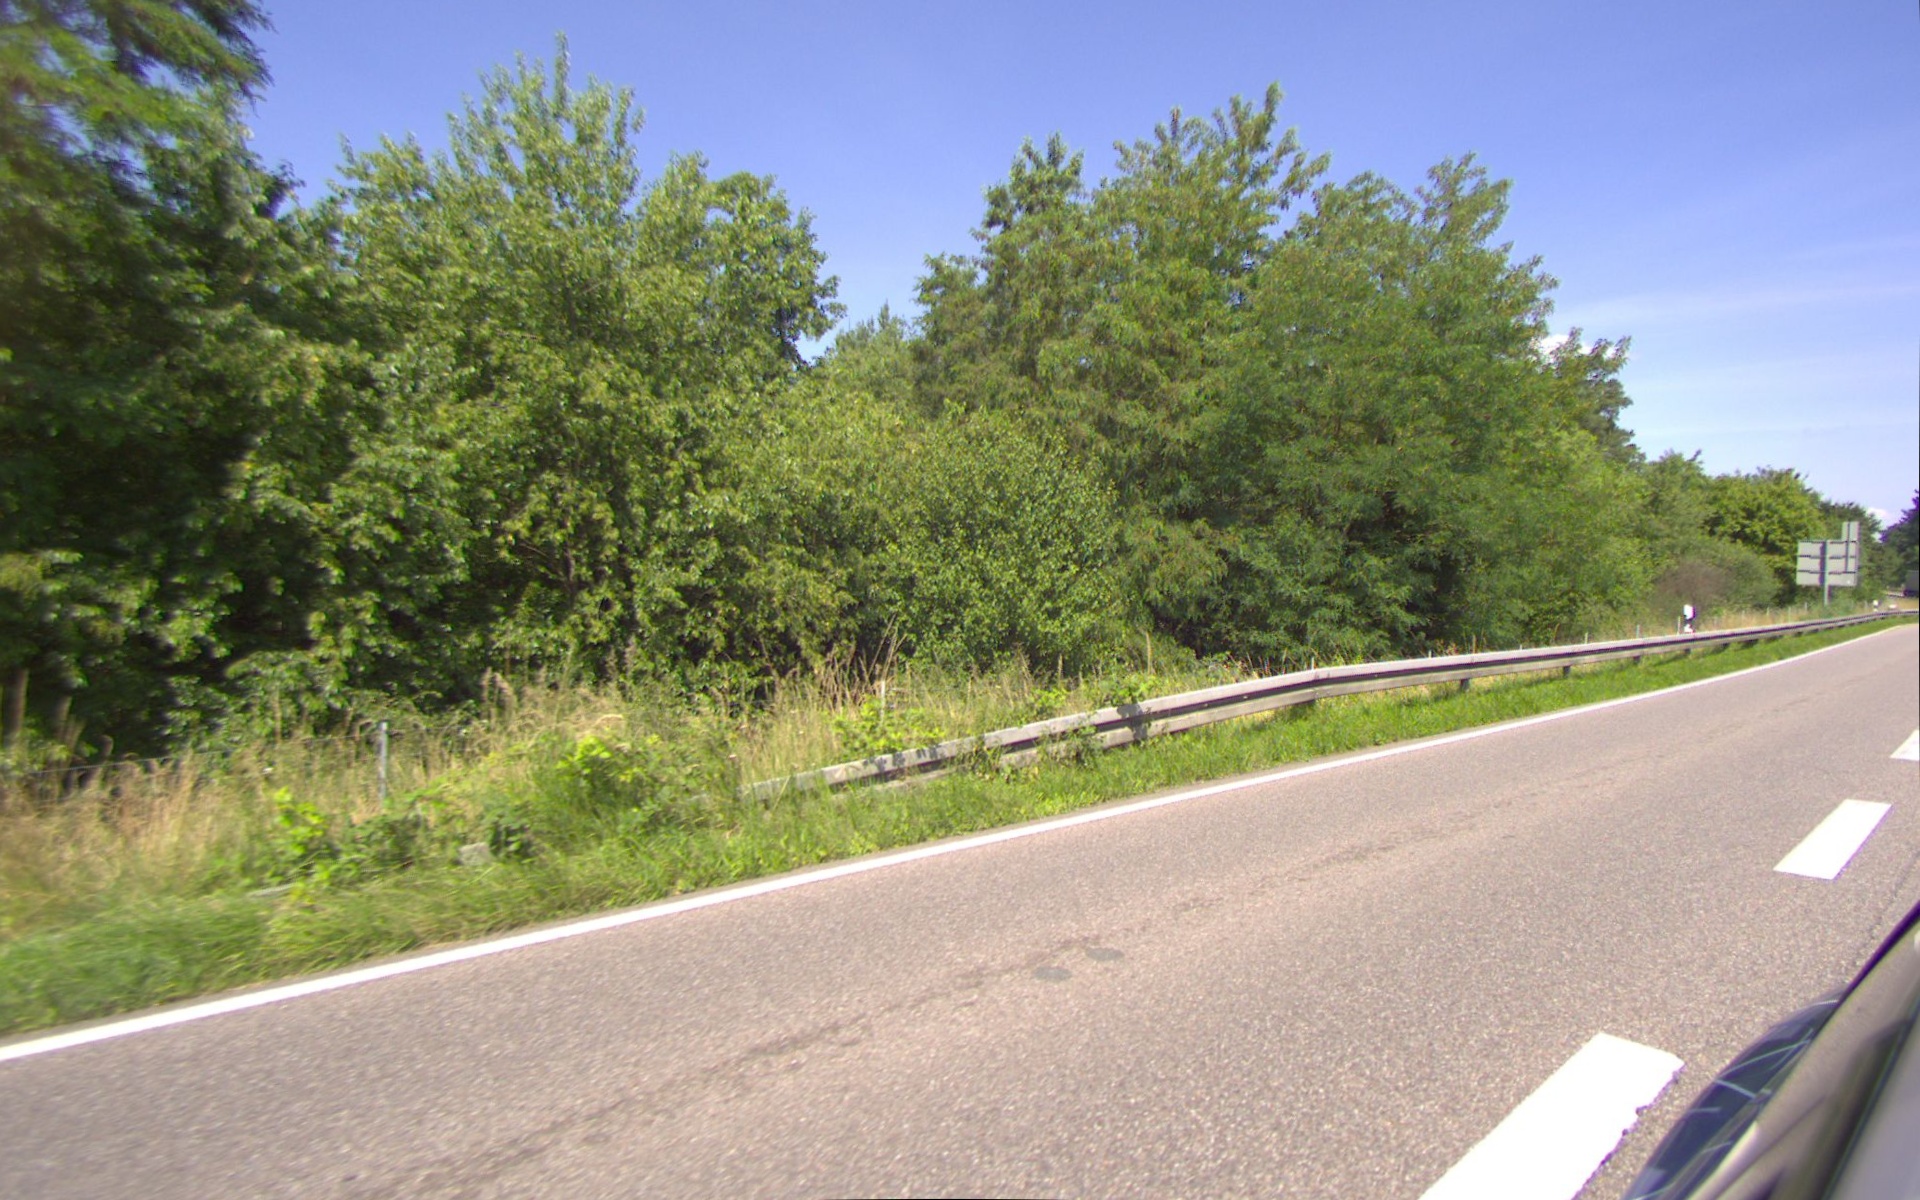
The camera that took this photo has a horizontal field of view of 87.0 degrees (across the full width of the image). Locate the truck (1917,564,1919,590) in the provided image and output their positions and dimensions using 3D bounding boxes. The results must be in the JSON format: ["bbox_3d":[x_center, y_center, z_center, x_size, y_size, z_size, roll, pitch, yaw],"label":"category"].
[{"bbox_3d":[146.587,-3.467,151.777,2.776,3.925,13.958,0,1,37],"label":"truck"}]
